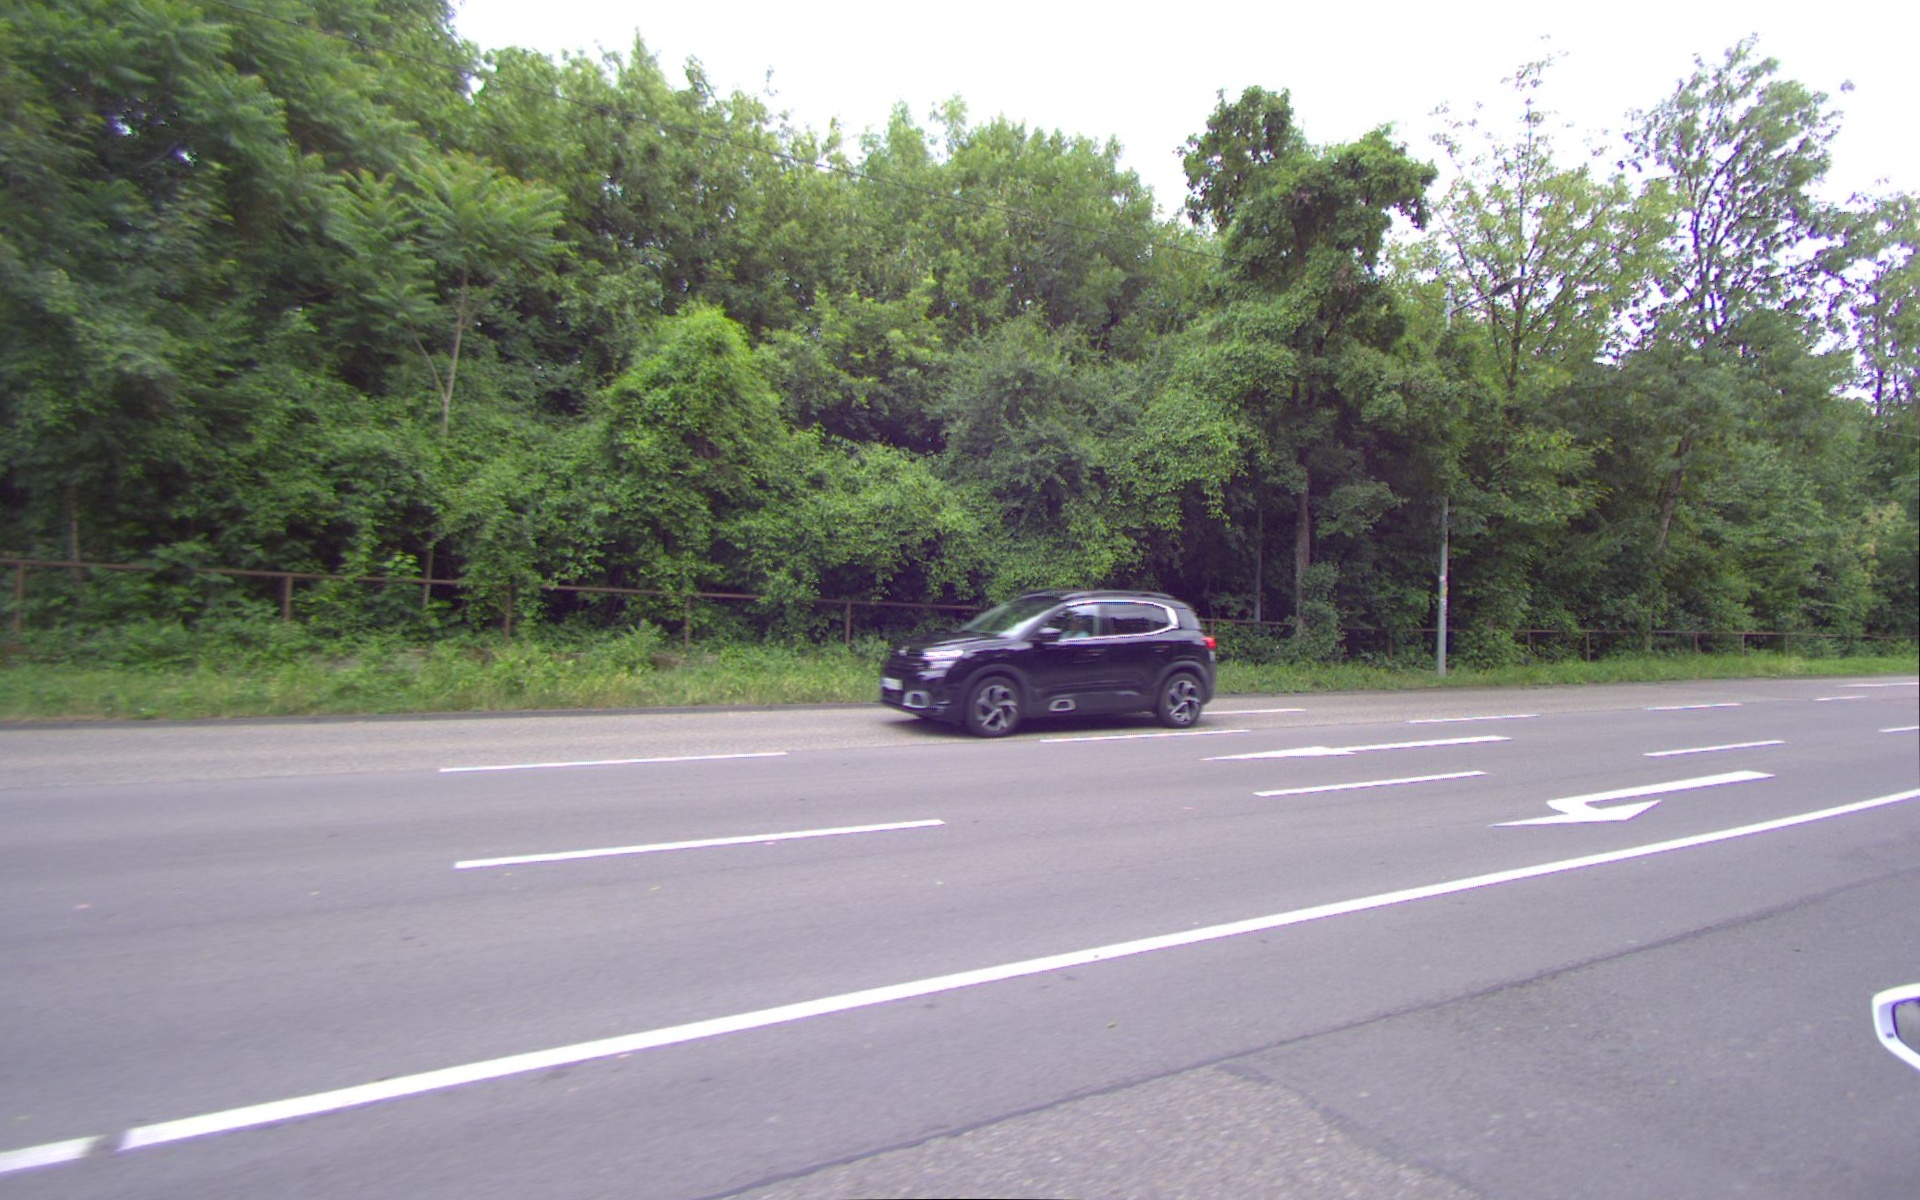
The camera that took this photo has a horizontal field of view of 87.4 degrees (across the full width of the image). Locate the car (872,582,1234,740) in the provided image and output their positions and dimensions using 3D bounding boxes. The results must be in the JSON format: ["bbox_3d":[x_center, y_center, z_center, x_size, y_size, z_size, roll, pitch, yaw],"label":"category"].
[{"bbox_3d":[1.196,0.707,12.539,4.170,1.675,1.814,2,0,-29],"label":"car"}]
